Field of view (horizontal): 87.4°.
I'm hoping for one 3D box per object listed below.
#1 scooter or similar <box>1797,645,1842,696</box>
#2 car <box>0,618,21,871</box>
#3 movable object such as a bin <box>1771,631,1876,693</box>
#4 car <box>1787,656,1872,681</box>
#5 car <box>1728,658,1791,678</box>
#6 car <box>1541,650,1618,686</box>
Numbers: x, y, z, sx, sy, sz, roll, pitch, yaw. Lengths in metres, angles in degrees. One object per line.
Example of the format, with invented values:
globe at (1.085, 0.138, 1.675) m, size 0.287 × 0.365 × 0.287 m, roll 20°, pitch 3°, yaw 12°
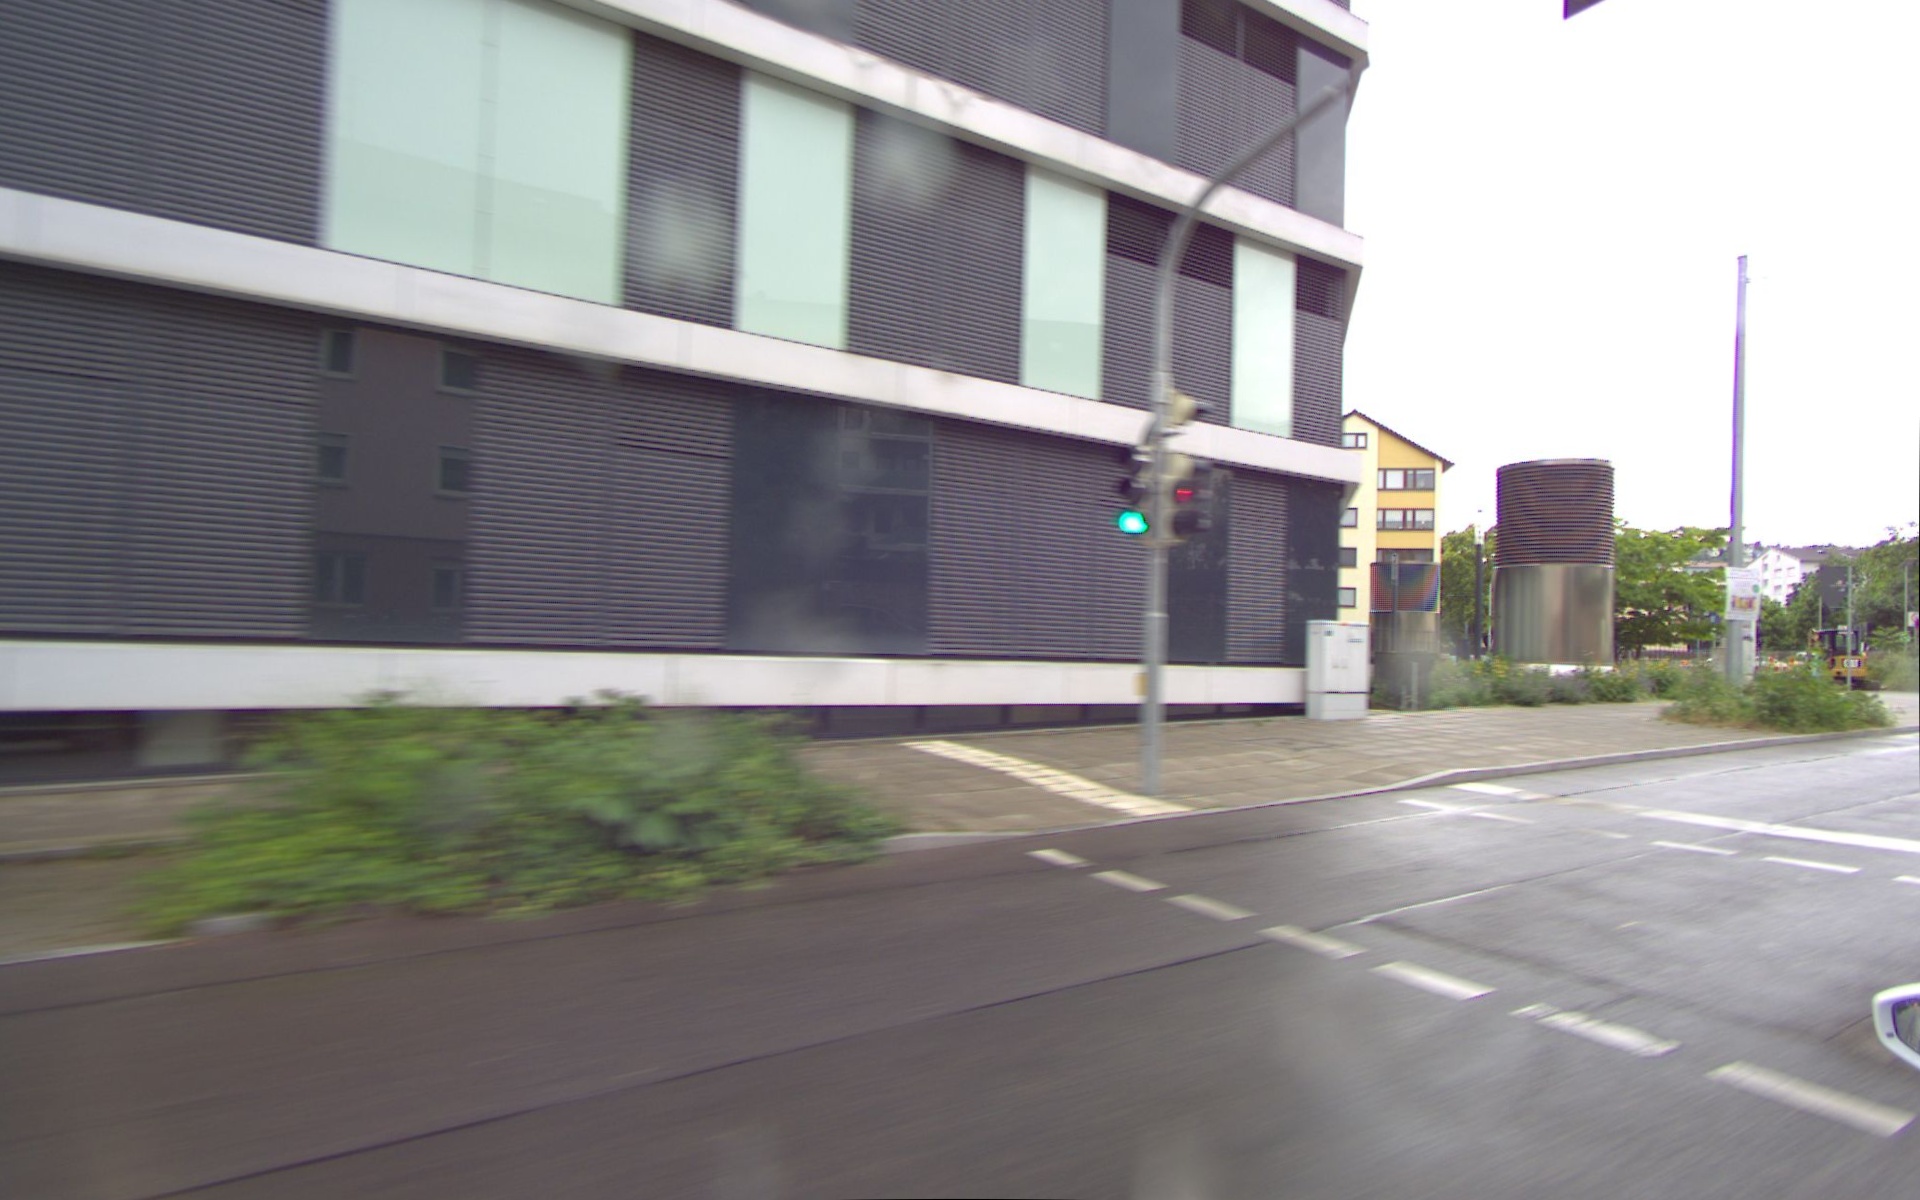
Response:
scooter or similar at (22.013, 1.811, 25.726) m, size 1.217 × 1.265 × 0.494 m, roll 3°, pitch -1°, yaw -30°
car at (-6.821, 0.786, 4.484) m, size 3.545 × 1.486 × 1.628 m, roll 2°, pitch -2°, yaw -33°
movable object such as a bin at (37.462, 2.652, 43.757) m, size 1.638 × 2.491 × 5.290 m, roll 1°, pitch -2°, yaw 20°
car at (67.892, 5.359, 78.486) m, size 4.597 × 1.858 × 2.002 m, roll 0°, pitch -3°, yaw 11°
car at (70.224, 5.984, 88.312) m, size 3.919 × 1.647 × 1.802 m, roll 0°, pitch -3°, yaw 11°
car at (43.910, 4.847, 71.405) m, size 2.620 × 2.444 × 5.739 m, roll -1°, pitch -4°, yaw 10°
